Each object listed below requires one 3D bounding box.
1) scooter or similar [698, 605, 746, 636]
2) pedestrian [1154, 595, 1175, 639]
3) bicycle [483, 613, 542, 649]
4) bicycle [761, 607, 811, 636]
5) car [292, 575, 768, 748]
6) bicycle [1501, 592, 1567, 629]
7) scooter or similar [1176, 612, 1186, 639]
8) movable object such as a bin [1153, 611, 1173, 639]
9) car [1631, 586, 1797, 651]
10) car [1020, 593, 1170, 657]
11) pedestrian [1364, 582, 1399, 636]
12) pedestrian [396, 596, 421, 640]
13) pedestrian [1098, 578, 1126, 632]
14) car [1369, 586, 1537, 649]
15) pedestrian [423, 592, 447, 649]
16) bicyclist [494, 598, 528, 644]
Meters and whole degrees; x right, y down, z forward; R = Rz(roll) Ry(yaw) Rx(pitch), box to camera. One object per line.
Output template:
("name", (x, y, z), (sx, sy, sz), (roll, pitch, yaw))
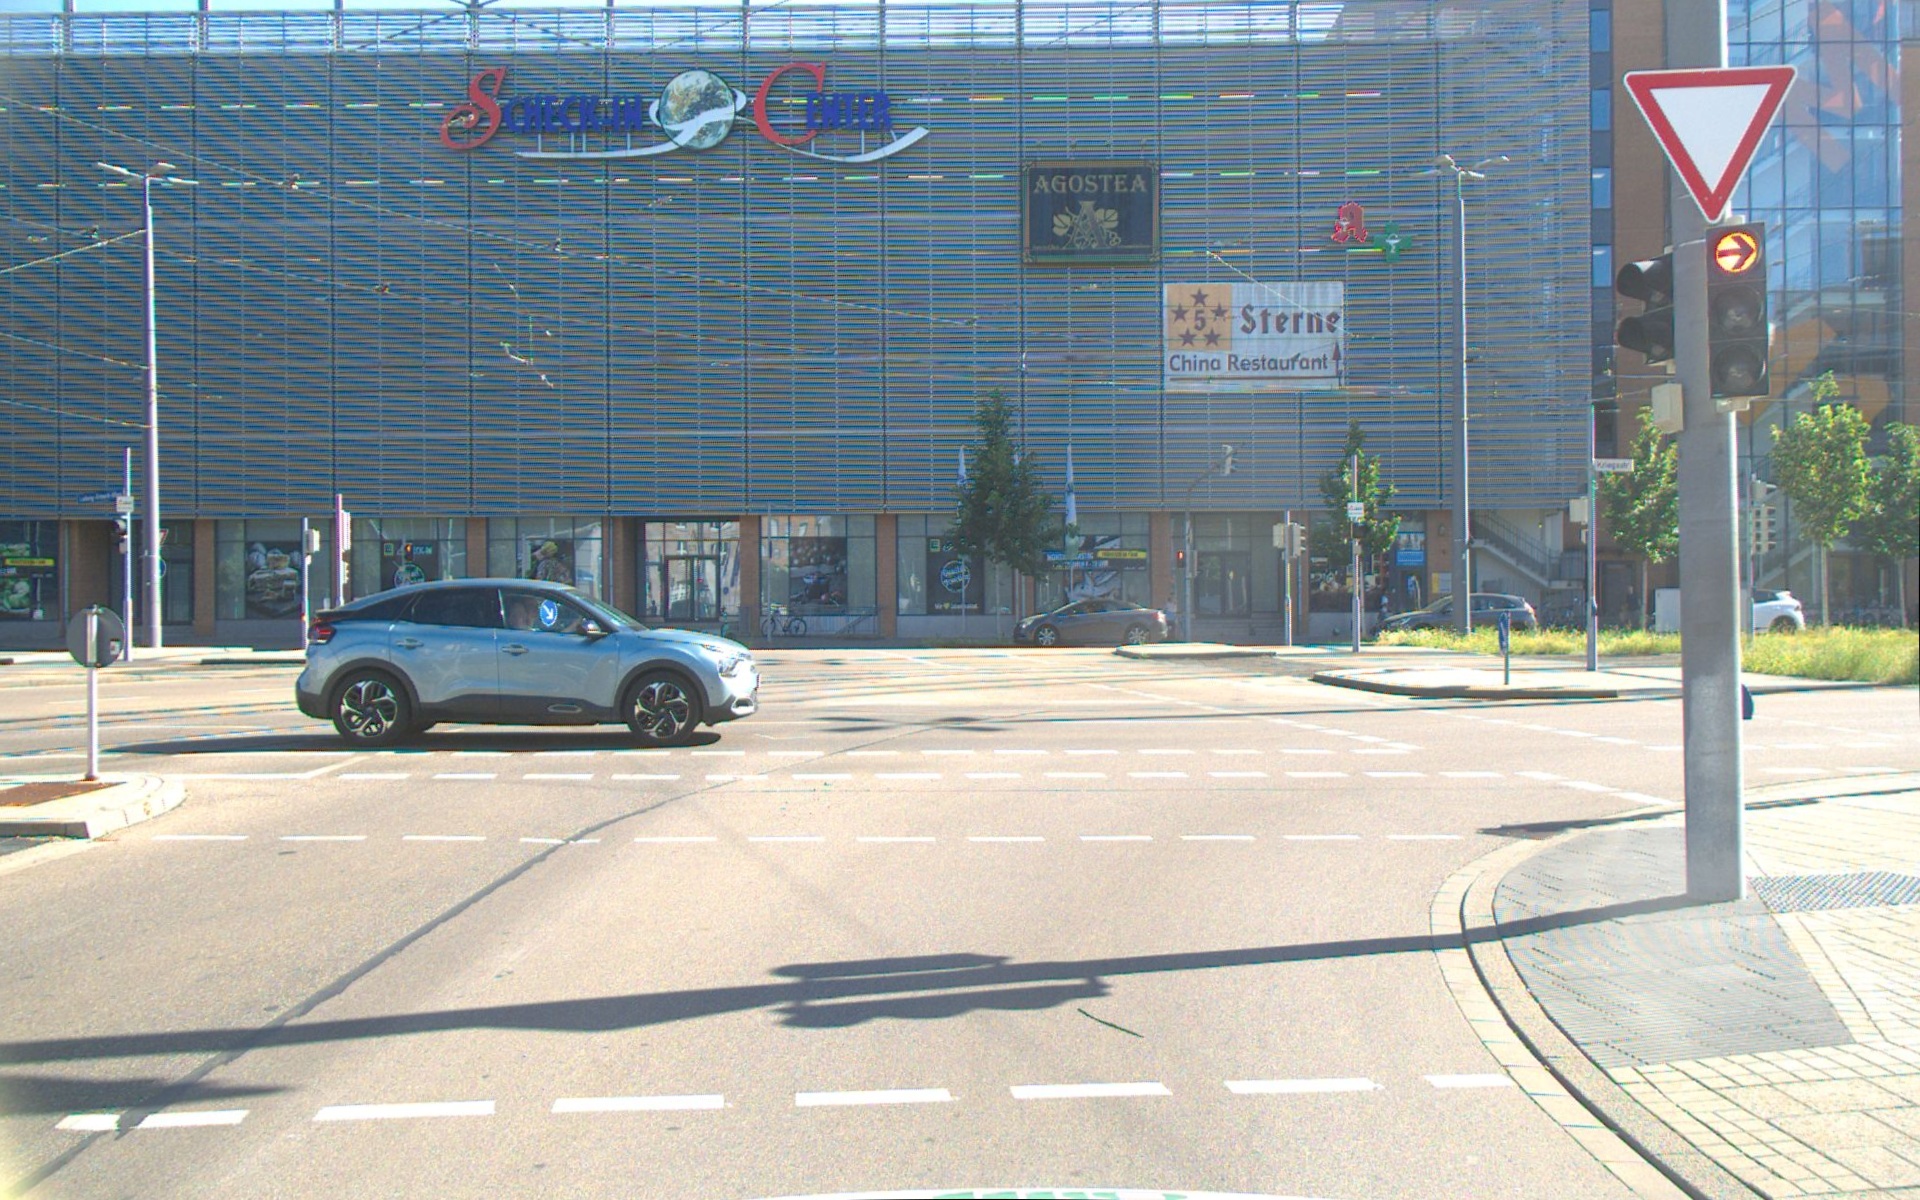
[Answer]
("scooter or similar", (-8.744, 0.748, 60.780), (1.759, 1.085, 0.611), (0, 1, -9))
("pedestrian", (6.859, 0.577, 55.364), (0.641, 1.438, 0.850), (1, 0, 10))
("bicycle", (-14.765, 1.008, 54.619), (0.559, 1.105, 1.852), (0, 2, 42))
("bicycle", (-6.363, 0.779, 60.432), (1.783, 1.006, 0.556), (0, 1, -11))
("car", (-3.972, 0.566, 15.871), (4.182, 1.540, 1.707), (1, 0, -6))
("bicycle", (21.291, 0.388, 61.352), (2.209, 1.318, 0.605), (1, -1, -2))
("scooter or similar", (7.368, 0.833, 55.190), (0.288, 0.888, 1.004), (1, 0, 10))
("movable object such as a bin", (6.744, 0.831, 54.897), (0.599, 0.920, 0.970), (1, 0, 10))
("car", (22.714, 0.556, 49.889), (4.244, 1.895, 1.838), (0, -1, -7))
("car", (3.949, 0.746, 48.923), (4.203, 1.611, 1.840), (3, -1, -2))
("pedestrian", (14.980, 0.315, 58.803), (0.991, 1.860, 1.036), (-2, 0, 3))
("pedestrian", (-20.511, 0.676, 61.534), (0.646, 1.629, 0.594), (1, -1, 18))
("pedestrian", (5.475, 0.182, 59.669), (0.930, 1.860, 0.846), (-2, -4, 5))
("car", (13.672, 0.496, 46.047), (4.063, 1.495, 1.840), (3, -1, -2))
("pedestrian", (-17.336, 0.664, 54.668), (0.683, 1.829, 0.727), (-2, 0, -17))
("bicyclist", (-14.797, 0.692, 54.544), (0.663, 1.452, 0.844), (0, 2, 42))
